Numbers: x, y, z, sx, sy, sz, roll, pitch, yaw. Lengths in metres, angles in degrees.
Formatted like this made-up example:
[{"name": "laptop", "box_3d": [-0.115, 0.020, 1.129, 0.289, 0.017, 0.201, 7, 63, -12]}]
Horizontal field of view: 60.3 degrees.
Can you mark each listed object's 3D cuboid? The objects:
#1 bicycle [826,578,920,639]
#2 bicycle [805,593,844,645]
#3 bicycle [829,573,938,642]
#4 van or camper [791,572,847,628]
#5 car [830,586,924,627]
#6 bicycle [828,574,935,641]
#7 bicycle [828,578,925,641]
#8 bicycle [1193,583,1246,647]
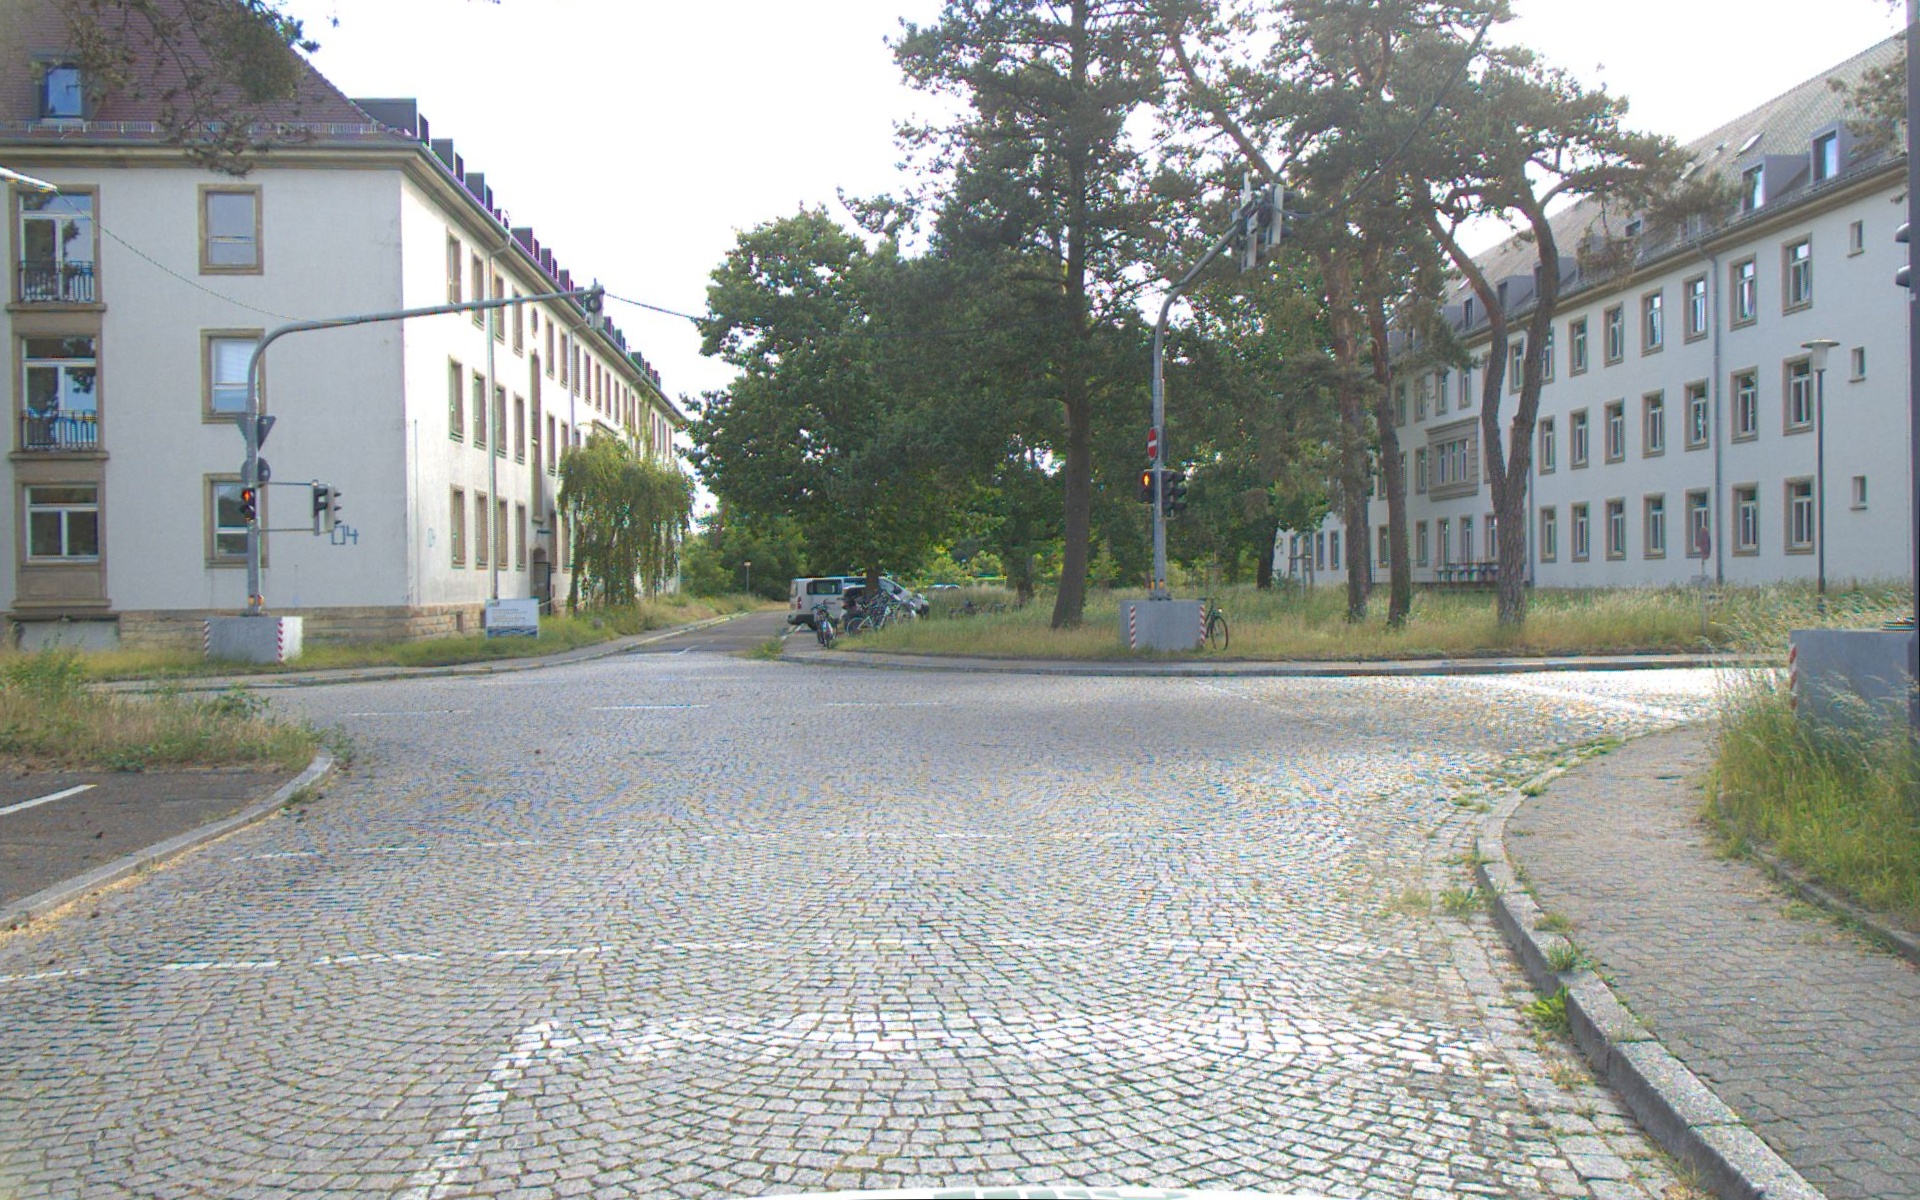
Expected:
[{"name": "bicycle", "box_3d": [-2.589, 0.251, 49.441, 2.720, 1.723, 1.119, 1, 0, -3]}, {"name": "bicycle", "box_3d": [-3.182, 0.432, 38.999, 0.711, 1.127, 2.461, -5, 0, -3]}, {"name": "bicycle", "box_3d": [-2.010, 0.180, 43.374, 2.725, 1.723, 1.118, -1, 0, -10]}, {"name": "van or camper", "box_3d": [-5.278, -0.030, 61.699, 1.955, 1.983, 6.045, -1, 1, -5]}, {"name": "car", "box_3d": [-2.909, 0.215, 57.729, 3.080, 1.378, 1.616, -1, 0, -10]}, {"name": "bicycle", "box_3d": [-2.117, 0.199, 44.563, 2.726, 1.723, 1.117, -1, 0, -12]}, {"name": "bicycle", "box_3d": [-2.415, 0.273, 48.114, 2.719, 1.723, 1.120, 1, 0, 0]}, {"name": "bicycle", "box_3d": [5.010, 0.273, 32.078, 0.709, 1.189, 2.738, 1, 0, 2]}]
